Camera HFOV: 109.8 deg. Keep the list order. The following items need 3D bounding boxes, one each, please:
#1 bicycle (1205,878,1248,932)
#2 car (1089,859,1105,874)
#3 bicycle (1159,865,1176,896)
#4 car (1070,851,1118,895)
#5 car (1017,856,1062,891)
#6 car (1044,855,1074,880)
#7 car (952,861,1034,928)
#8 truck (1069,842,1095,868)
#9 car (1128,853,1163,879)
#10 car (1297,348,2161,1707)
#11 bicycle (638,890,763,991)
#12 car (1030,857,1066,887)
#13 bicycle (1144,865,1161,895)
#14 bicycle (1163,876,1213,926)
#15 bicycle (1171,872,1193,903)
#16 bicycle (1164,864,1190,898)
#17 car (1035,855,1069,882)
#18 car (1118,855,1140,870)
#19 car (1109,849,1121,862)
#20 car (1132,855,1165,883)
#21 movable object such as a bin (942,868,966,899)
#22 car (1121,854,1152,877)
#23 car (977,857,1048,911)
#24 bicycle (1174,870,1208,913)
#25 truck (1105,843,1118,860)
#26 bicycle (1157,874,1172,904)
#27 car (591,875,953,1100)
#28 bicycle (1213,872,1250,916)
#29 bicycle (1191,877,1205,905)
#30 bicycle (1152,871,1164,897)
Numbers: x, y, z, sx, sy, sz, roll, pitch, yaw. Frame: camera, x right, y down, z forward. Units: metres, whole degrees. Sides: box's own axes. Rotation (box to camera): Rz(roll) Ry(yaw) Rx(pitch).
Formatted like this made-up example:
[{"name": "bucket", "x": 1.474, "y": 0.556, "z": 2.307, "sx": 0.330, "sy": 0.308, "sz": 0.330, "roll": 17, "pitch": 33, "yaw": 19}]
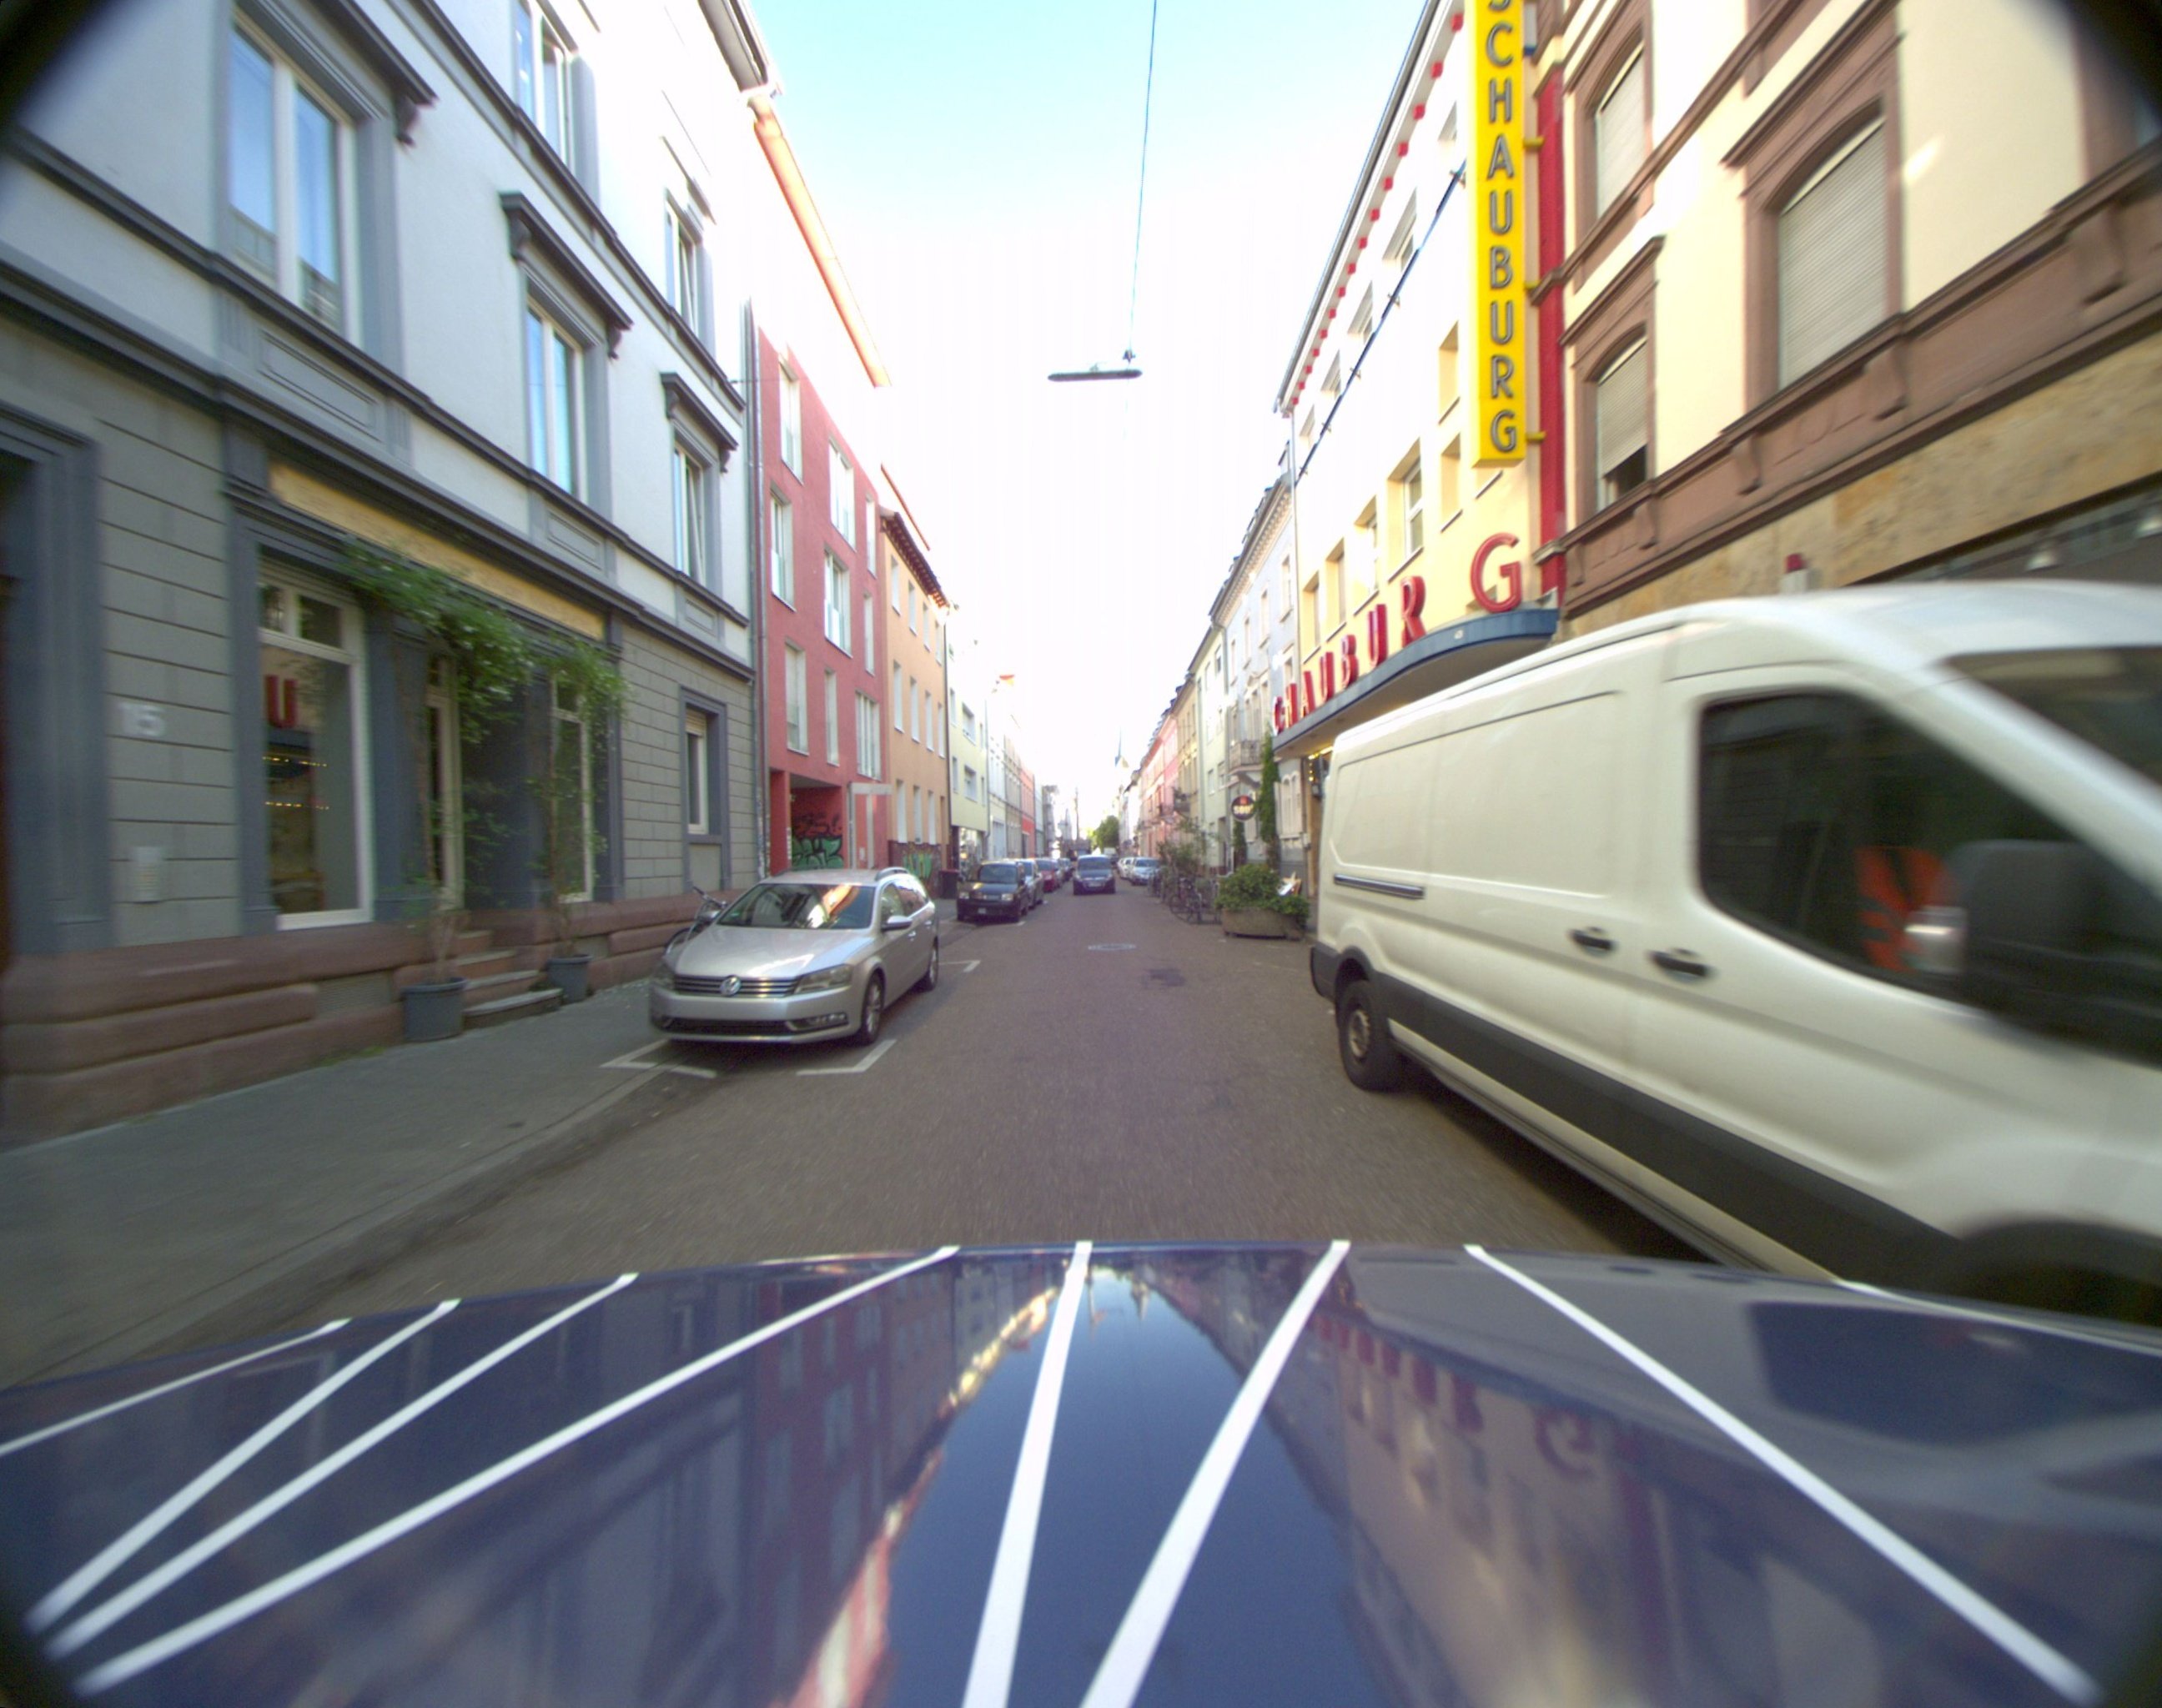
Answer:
[{"name": "bicycle", "x": 3.156, "y": 1.080, "z": 16.606, "sx": 0.443, "sy": 1.041, "sz": 1.864, "roll": -3, "pitch": 0, "yaw": -2}, {"name": "car", "x": 1.685, "y": 1.338, "z": 81.831, "sx": 1.644, "sy": 1.528, "sz": 3.842, "roll": -1, "pitch": 0, "yaw": 1}, {"name": "bicycle", "x": 3.382, "y": 1.017, "z": 29.709, "sx": 0.444, "sy": 1.099, "sz": 1.932, "roll": -2, "pitch": 0, "yaw": 1}, {"name": "car", "x": 0.566, "y": 0.729, "z": 31.489, "sx": 1.832, "sy": 1.650, "sz": 4.213, "roll": -1, "pitch": 0, "yaw": 1}, {"name": "car", "x": -1.881, "y": 0.857, "z": 35.324, "sx": 1.701, "sy": 1.514, "sz": 3.981, "roll": 0, "pitch": 0, "yaw": 2}, {"name": "car", "x": -1.434, "y": 0.841, "z": 50.939, "sx": 1.766, "sy": 1.513, "sz": 4.380, "roll": -2, "pitch": 0, "yaw": 1}, {"name": "car", "x": -2.221, "y": 0.995, "z": 20.057, "sx": 1.606, "sy": 1.530, "sz": 3.450, "roll": 1, "pitch": 0, "yaw": 2}, {"name": "truck", "x": 0.187, "y": 0.102, "z": 90.094, "sx": 2.819, "sy": 2.735, "sz": 7.678, "roll": -3, "pitch": 0, "yaw": 1}, {"name": "car", "x": 3.861, "y": 0.701, "z": 46.175, "sx": 1.794, "sy": 1.443, "sz": 4.000, "roll": -1, "pitch": 0, "yaw": 1}, {"name": "car", "x": 2.789, "y": 0.419, "z": 2.992, "sx": 2.173, "sy": 2.438, "sz": 5.921, "roll": 0, "pitch": 0, "yaw": 0}, {"name": "bicycle", "x": -4.969, "y": 1.079, "z": 10.073, "sx": 0.712, "sy": 1.091, "sz": 1.900, "roll": 1, "pitch": 1, "yaw": -1}, {"name": "car", "x": -1.701, "y": 0.909, "z": 39.899, "sx": 1.692, "sy": 1.444, "sz": 4.193, "roll": 0, "pitch": 0, "yaw": 0}, {"name": "bicycle", "x": 2.791, "y": 0.993, "z": 29.687, "sx": 0.500, "sy": 1.099, "sz": 1.830, "roll": -2, "pitch": 0, "yaw": 1}, {"name": "bicycle", "x": 2.460, "y": 1.064, "z": 17.687, "sx": 0.462, "sy": 1.041, "sz": 1.748, "roll": -3, "pitch": 0, "yaw": -15}, {"name": "bicycle", "x": 3.342, "y": 1.101, "z": 25.181, "sx": 0.555, "sy": 0.938, "sz": 1.572, "roll": -1, "pitch": 0, "yaw": 2}, {"name": "bicycle", "x": 3.520, "y": 0.983, "z": 27.968, "sx": 0.815, "sy": 1.168, "sz": 0.920, "roll": -2, "pitch": 1, "yaw": -1}, {"name": "car", "x": -1.687, "y": 0.824, "z": 45.418, "sx": 1.794, "sy": 1.542, "sz": 4.000, "roll": -1, "pitch": 0, "yaw": 1}, {"name": "car", "x": 4.310, "y": 0.725, "z": 68.492, "sx": 1.771, "sy": 1.335, "sz": 4.380, "roll": 0, "pitch": 0, "yaw": 0}, {"name": "car", "x": 5.530, "y": 0.230, "z": 123.554, "sx": 1.998, "sy": 2.002, "sz": 4.258, "roll": -1, "pitch": 0, "yaw": 2}, {"name": "car", "x": 3.605, "y": 0.762, "z": 40.682, "sx": 1.684, "sy": 1.446, "sz": 4.035, "roll": 0, "pitch": 0, "yaw": 5}, {"name": "movable object such as a bin", "x": -4.542, "y": 1.036, "z": 27.111, "sx": 0.694, "sy": 1.052, "sz": 0.736, "roll": 1, "pitch": 1, "yaw": 2}, {"name": "car", "x": 3.669, "y": 0.740, "z": 51.191, "sx": 1.792, "sy": 1.454, "sz": 4.200, "roll": 0, "pitch": 0, "yaw": 0}, {"name": "car", "x": -2.147, "y": 0.905, "z": 24.869, "sx": 1.750, "sy": 1.547, "sz": 4.172, "roll": -1, "pitch": 0, "yaw": 2}, {"name": "bicycle", "x": 3.057, "y": 1.012, "z": 21.205, "sx": 0.547, "sy": 1.088, "sz": 1.881, "roll": -3, "pitch": 0, "yaw": -2}, {"name": "truck", "x": 6.154, "y": -0.464, "z": 152.190, "sx": 2.524, "sy": 3.271, "sz": 6.643, "roll": -1, "pitch": 0, "yaw": 2}, {"name": "bicycle", "x": 2.726, "y": 1.137, "z": 24.845, "sx": 0.391, "sy": 0.911, "sz": 1.393, "roll": -1, "pitch": 0, "yaw": 2}, {"name": "car", "x": -2.630, "y": 1.037, "z": 7.800, "sx": 1.790, "sy": 1.446, "sz": 4.547, "roll": 2, "pitch": 0, "yaw": 1}, {"name": "bicycle", "x": 3.913, "y": 1.018, "z": 19.841, "sx": 0.575, "sy": 1.039, "sz": 1.409, "roll": -2, "pitch": 0, "yaw": -3}, {"name": "bicycle", "x": 3.792, "y": 1.193, "z": 24.620, "sx": 0.256, "sy": 0.813, "sz": 1.299, "roll": -2, "pitch": 0, "yaw": 2}, {"name": "bicycle", "x": 2.837, "y": 1.100, "z": 28.089, "sx": 0.322, "sy": 0.911, "sz": 1.290, "roll": -1, "pitch": 0, "yaw": 2}]
